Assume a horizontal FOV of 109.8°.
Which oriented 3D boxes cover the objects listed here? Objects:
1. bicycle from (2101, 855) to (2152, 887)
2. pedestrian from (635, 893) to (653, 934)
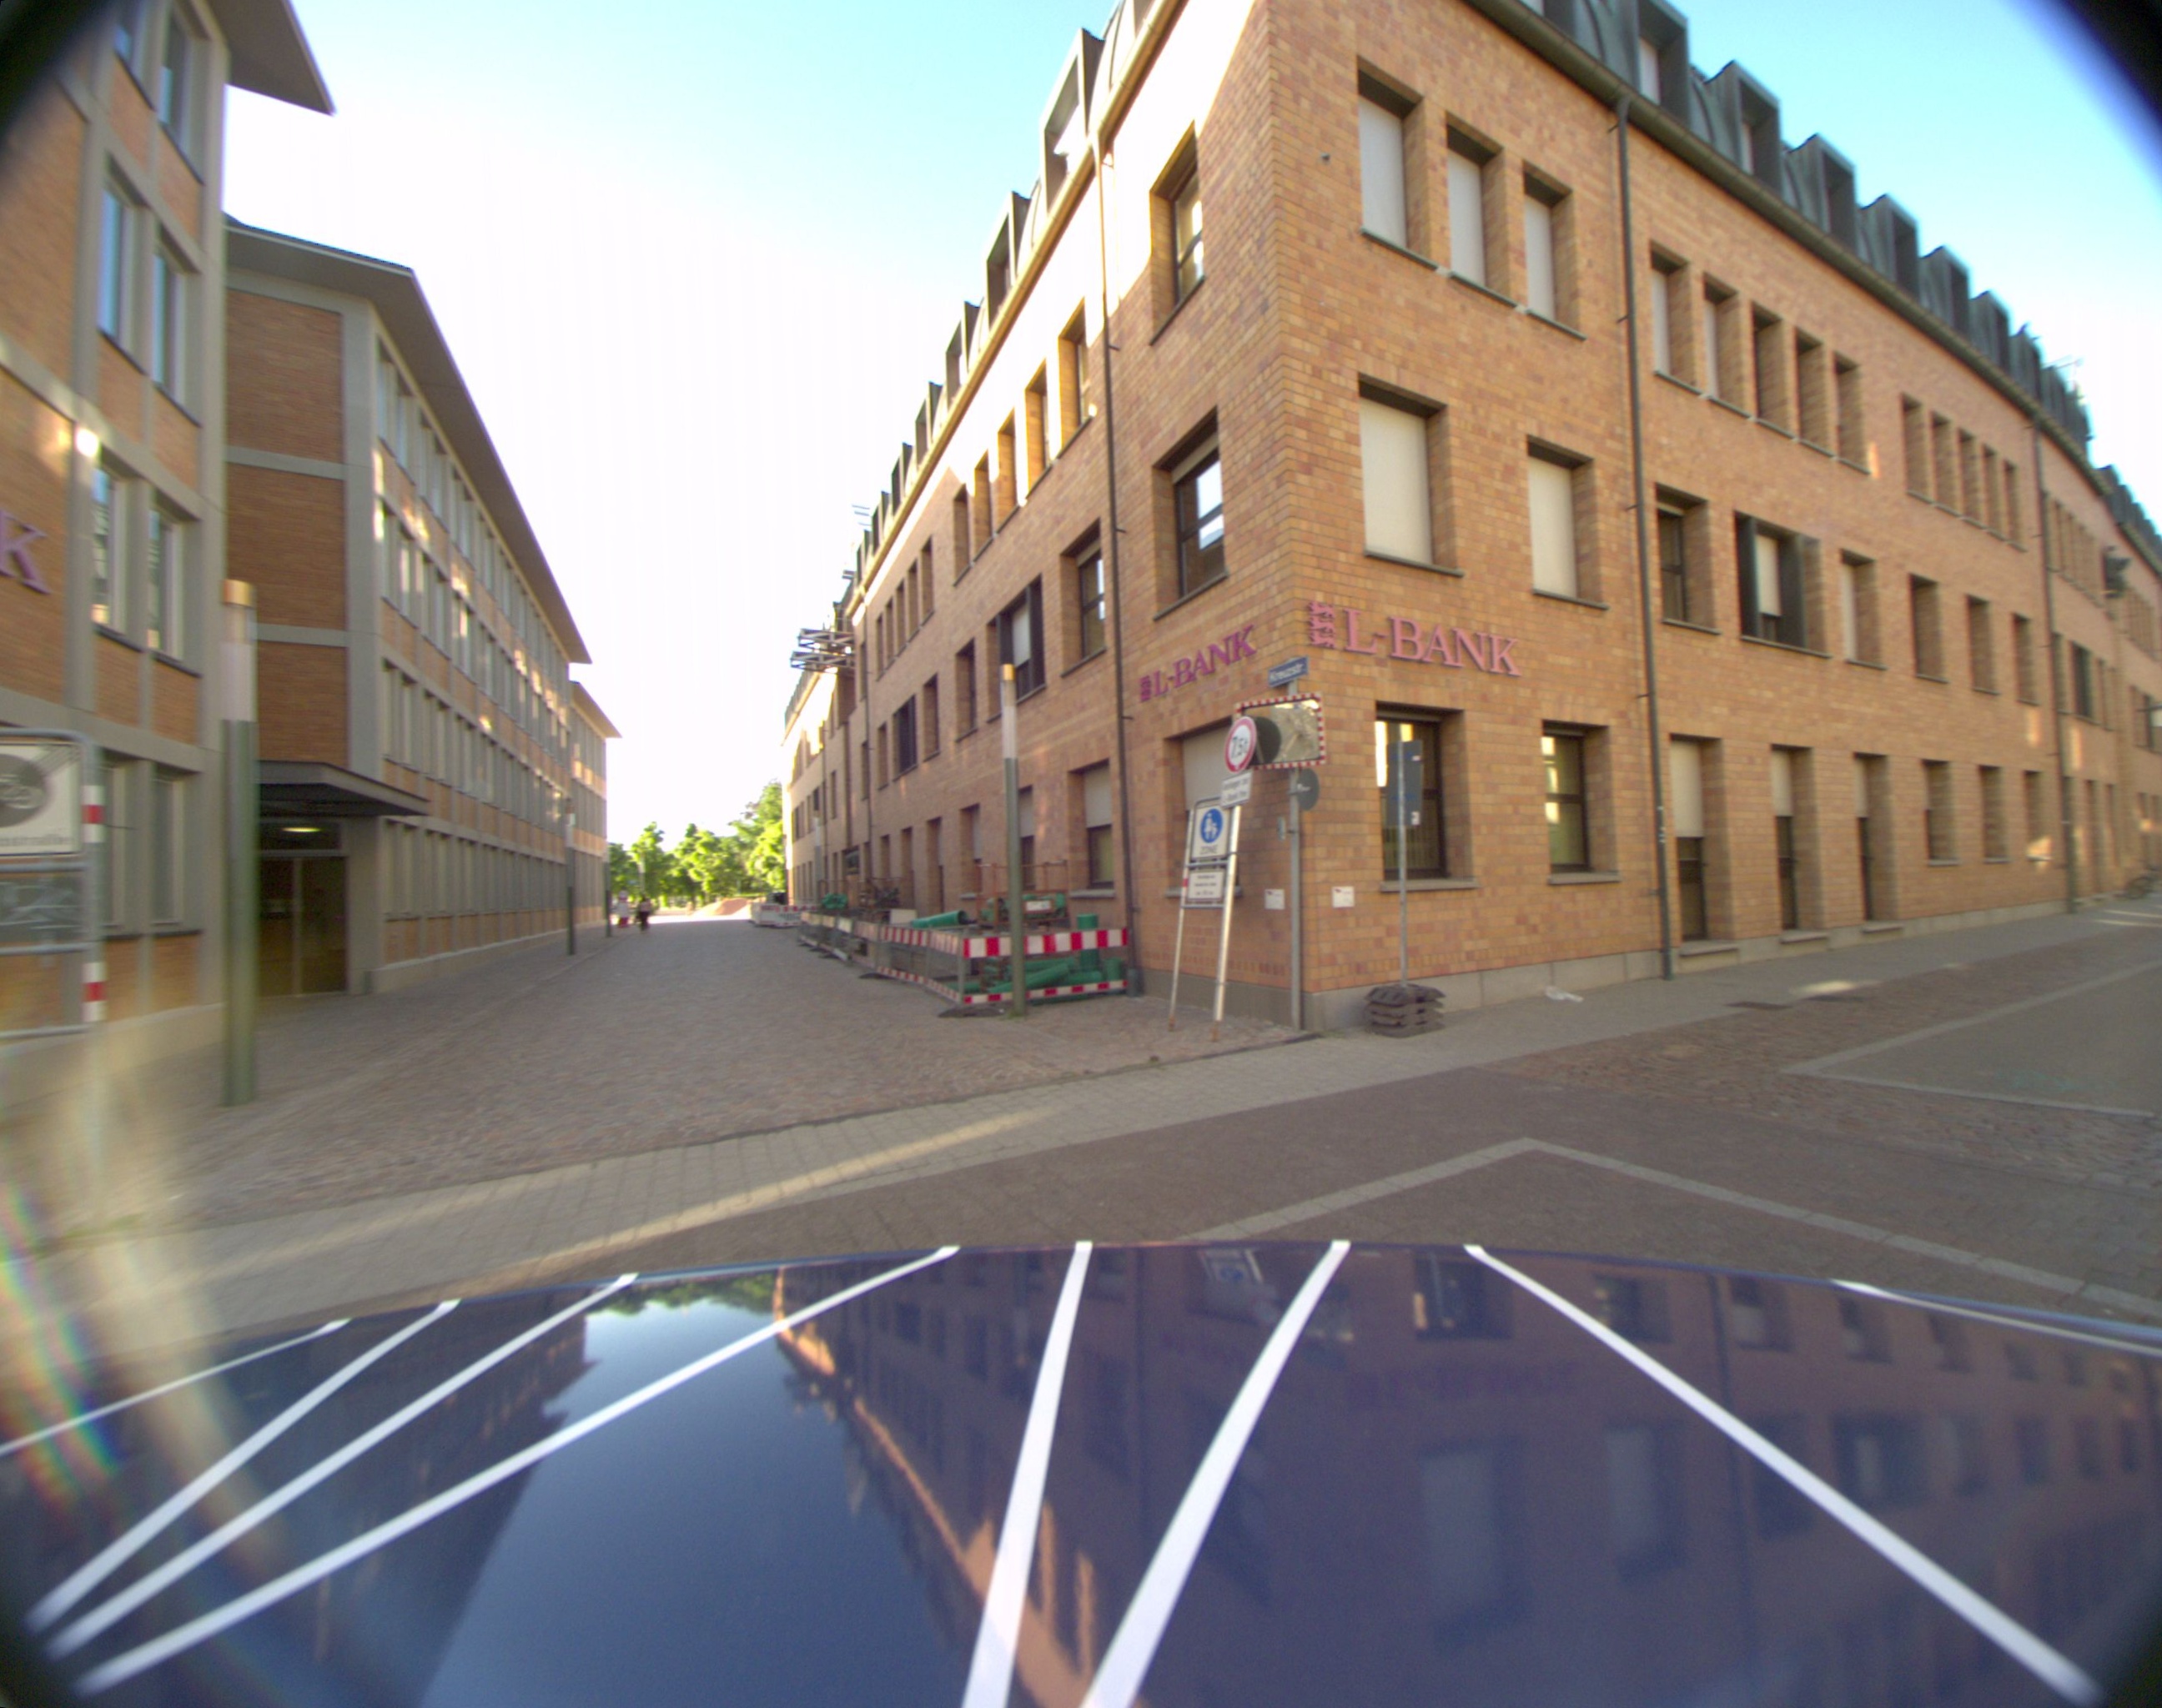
[{"bbox_3d":[31.507,0.490,22.890,2.560,0.876,0.642,-1,0,-30],"label":"bicycle"},{"bbox_3d":[-19.711,2.688,34.297,0.639,1.774,0.651,-2,-4,-28],"label":"pedestrian"}]
